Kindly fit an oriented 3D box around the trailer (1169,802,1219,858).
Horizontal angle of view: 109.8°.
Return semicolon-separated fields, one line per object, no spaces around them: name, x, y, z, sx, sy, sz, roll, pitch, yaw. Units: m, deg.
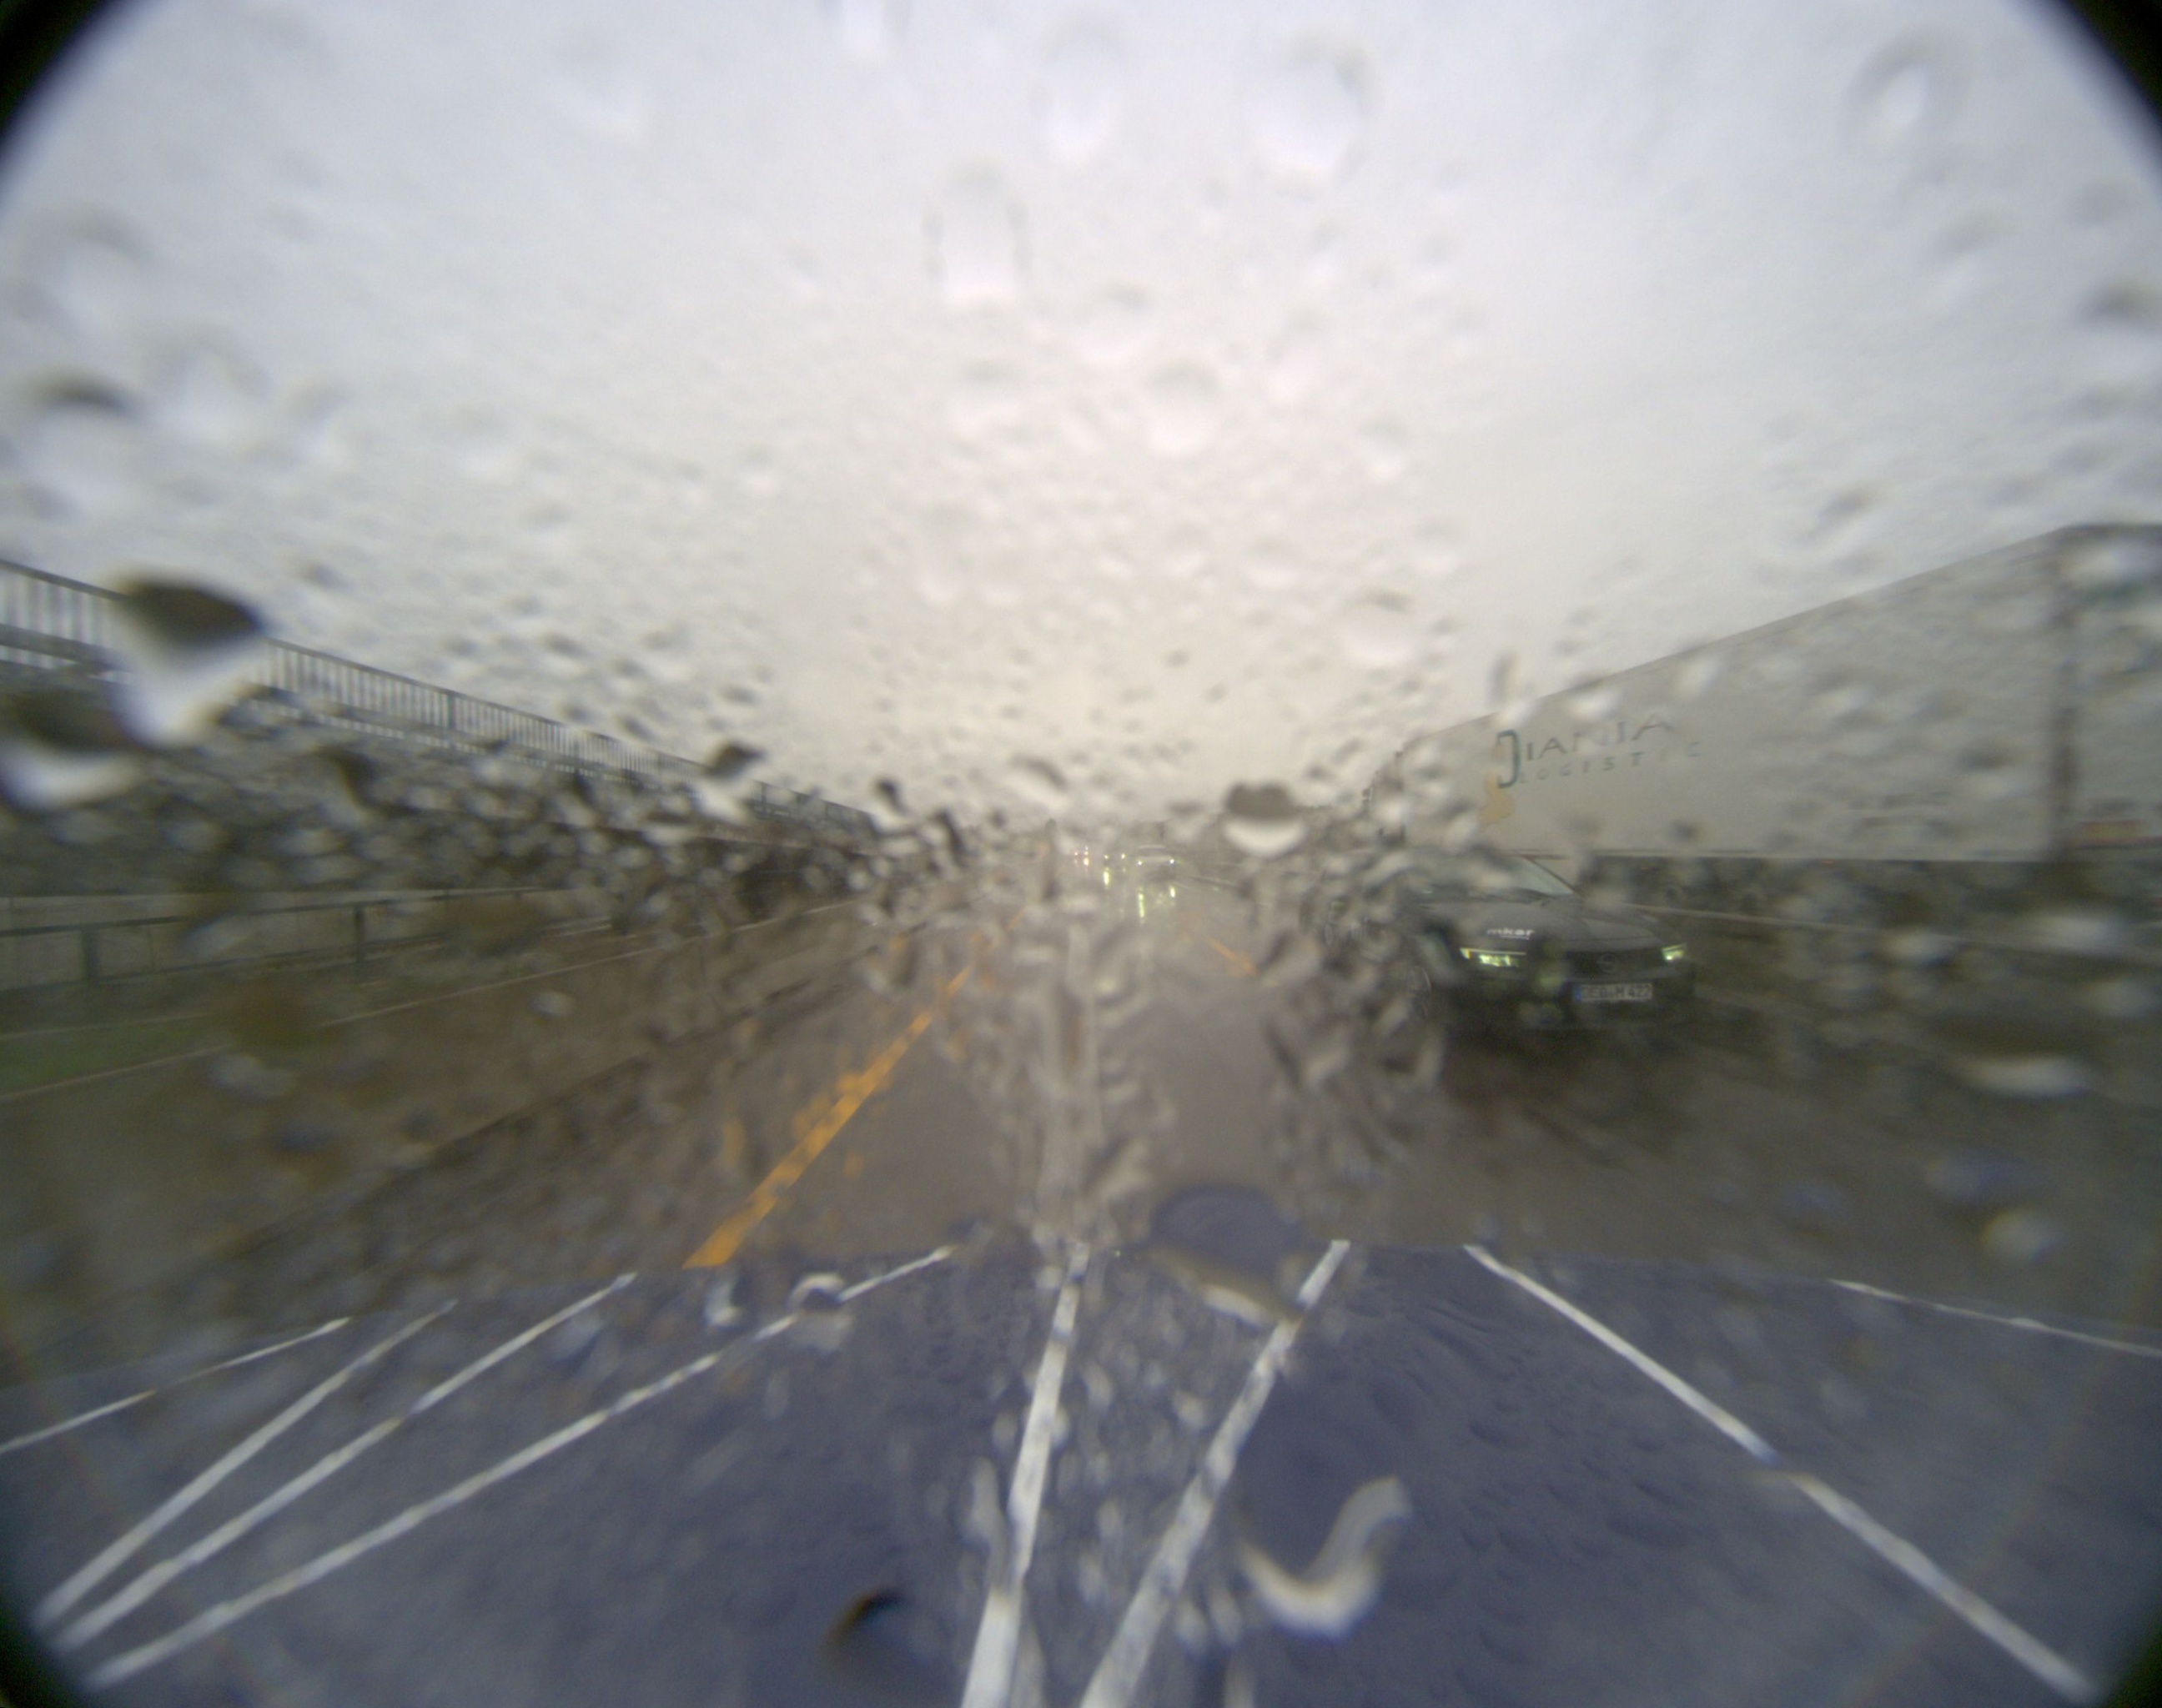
trailer;9.713;-2.088;66.434;2.491;4.418;11.191;-2;2;0

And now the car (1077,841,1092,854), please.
car;0.448;-0.946;110.495;1.999;1.762;3.998;-2;2;-1

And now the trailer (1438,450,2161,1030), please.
trailer;9.731;-1.094;12.007;2.554;4.564;12.005;-2;2;1

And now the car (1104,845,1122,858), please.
car;2.714;-0.229;65.084;1.335;1.105;3.198;1;0;0

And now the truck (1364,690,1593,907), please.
truck;9.814;-1.285;19.678;2.566;4.578;6.450;-2;2;1

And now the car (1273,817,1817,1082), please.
car;3.394;0.565;6.944;1.944;1.518;4.795;-2;0;-1

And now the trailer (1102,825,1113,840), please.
trailer;8.018;-6.565;232.701;2.693;4.253;13.066;-2;2;-1

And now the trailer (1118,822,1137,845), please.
trailer;8.945;-4.006;148.111;2.657;4.086;12.309;-2;2;0

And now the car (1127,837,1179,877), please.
car;3.375;0.085;36.213;1.972;1.671;3.998;-2;2;-1

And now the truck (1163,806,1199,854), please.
truck;9.702;-2.329;74.242;2.509;4.438;6.878;-2;2;0
